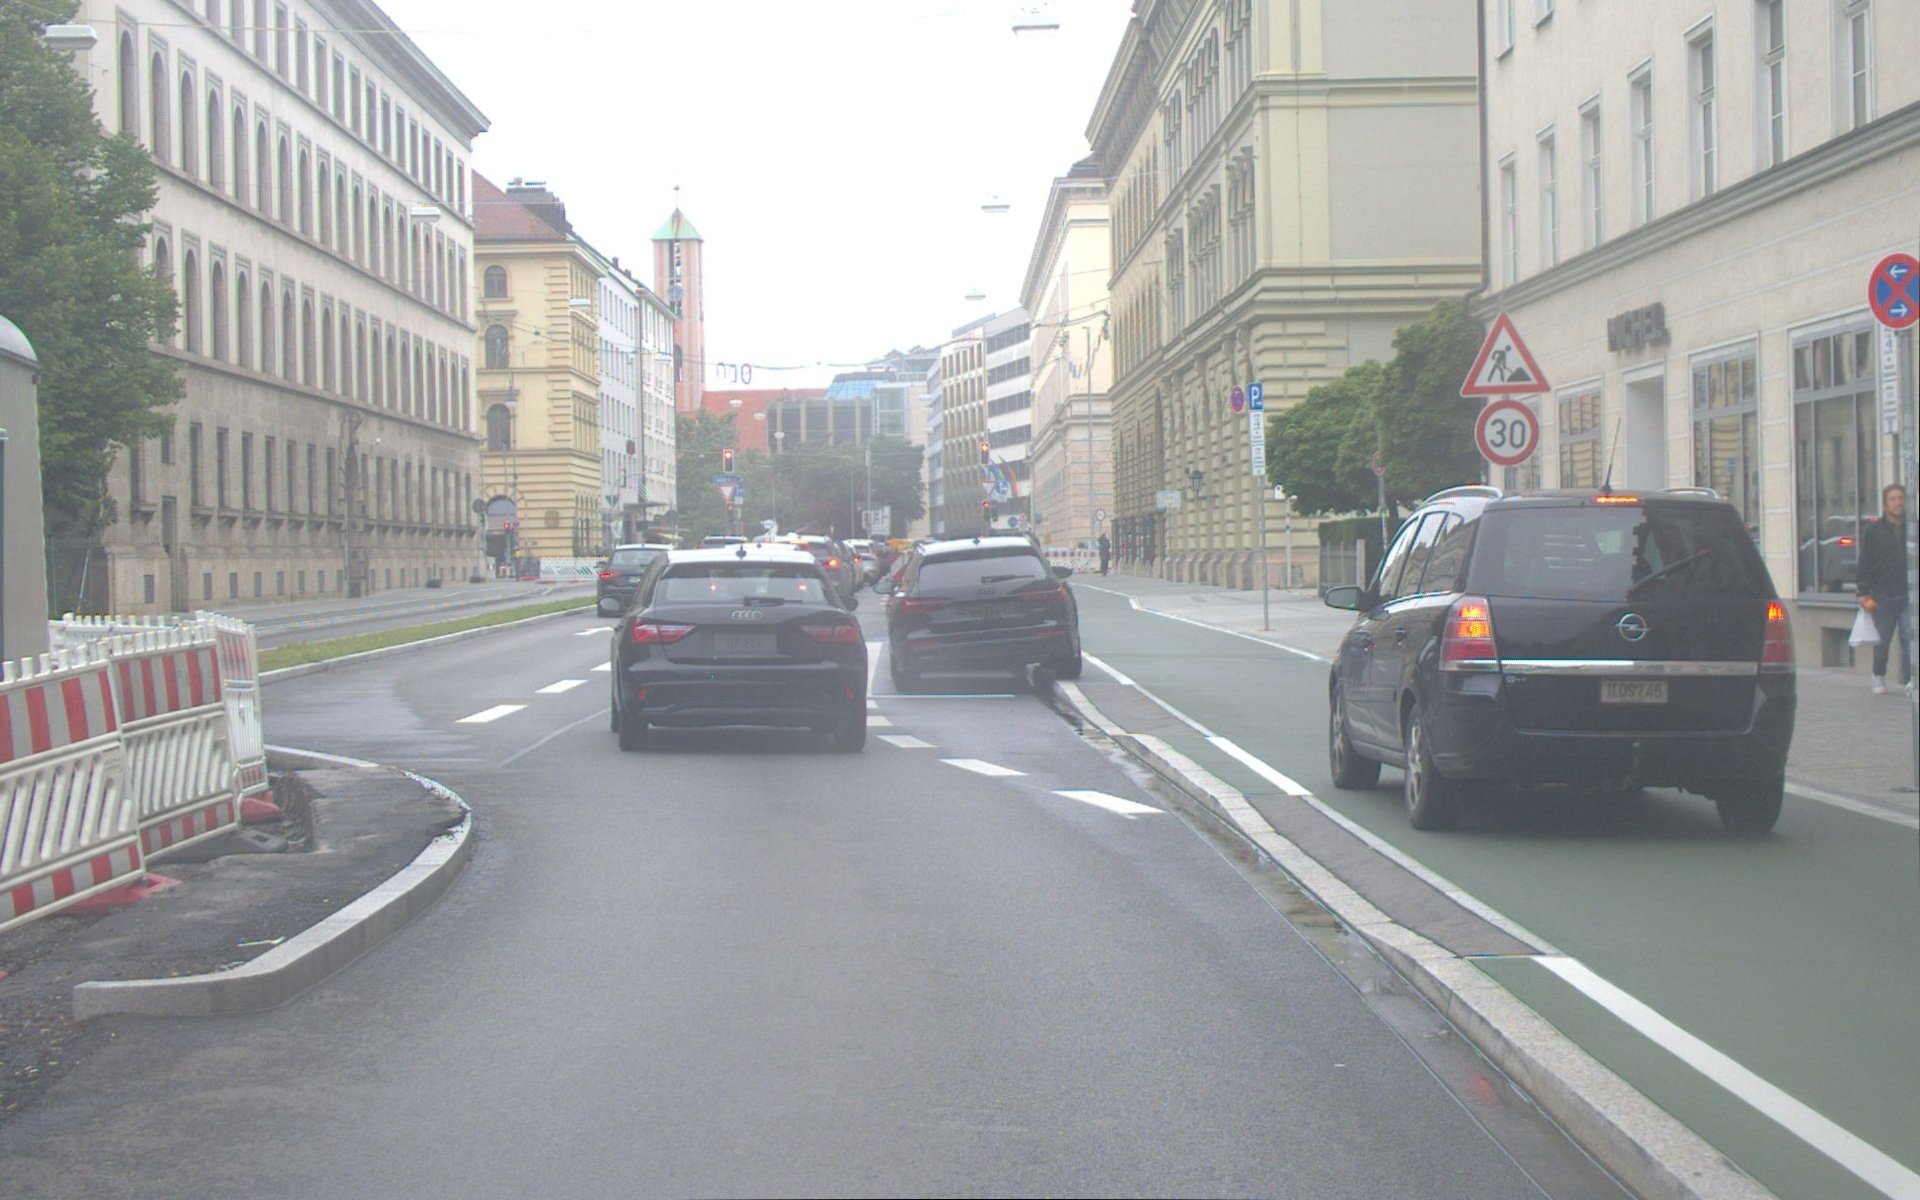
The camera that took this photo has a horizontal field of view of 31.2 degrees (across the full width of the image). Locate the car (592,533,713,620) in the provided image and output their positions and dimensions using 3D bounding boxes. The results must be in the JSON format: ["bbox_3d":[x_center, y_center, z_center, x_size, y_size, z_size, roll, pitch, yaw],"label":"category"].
[{"bbox_3d":[-6.003,-0.484,67.496,1.993,1.622,4.000,-1,1,0],"label":"car"}]

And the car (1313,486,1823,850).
[{"bbox_3d":[2.907,0.264,17.282,1.764,1.610,4.030,0,1,-1],"label":"car"}]

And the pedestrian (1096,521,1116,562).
[{"bbox_3d":[5.723,-2.286,134.476,0.710,1.612,0.754,-1,1,-1],"label":"pedestrian"}]

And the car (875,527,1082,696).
[{"bbox_3d":[0.128,0.063,35.245,1.808,1.475,4.463,-5,1,-2],"label":"car"}]

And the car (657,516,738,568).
[{"bbox_3d":[-7.471,-1.665,98.199,1.993,1.439,4.000,-1,1,0],"label":"car"}]

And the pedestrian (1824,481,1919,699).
[{"bbox_3d":[7.544,-0.088,27.977,0.793,1.739,0.833,-1,1,0],"label":"pedestrian"}]

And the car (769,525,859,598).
[{"bbox_3d":[-2.988,-0.813,71.174,1.730,1.456,4.000,0,1,-1],"label":"car"}]

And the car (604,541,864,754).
[{"bbox_3d":[-1.712,0.286,24.991,1.730,1.398,4.001,0,1,-6],"label":"car"}]

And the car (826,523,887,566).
[{"bbox_3d":[-3.551,-1.918,118.542,1.993,1.439,4.000,-1,1,0],"label":"car"}]
